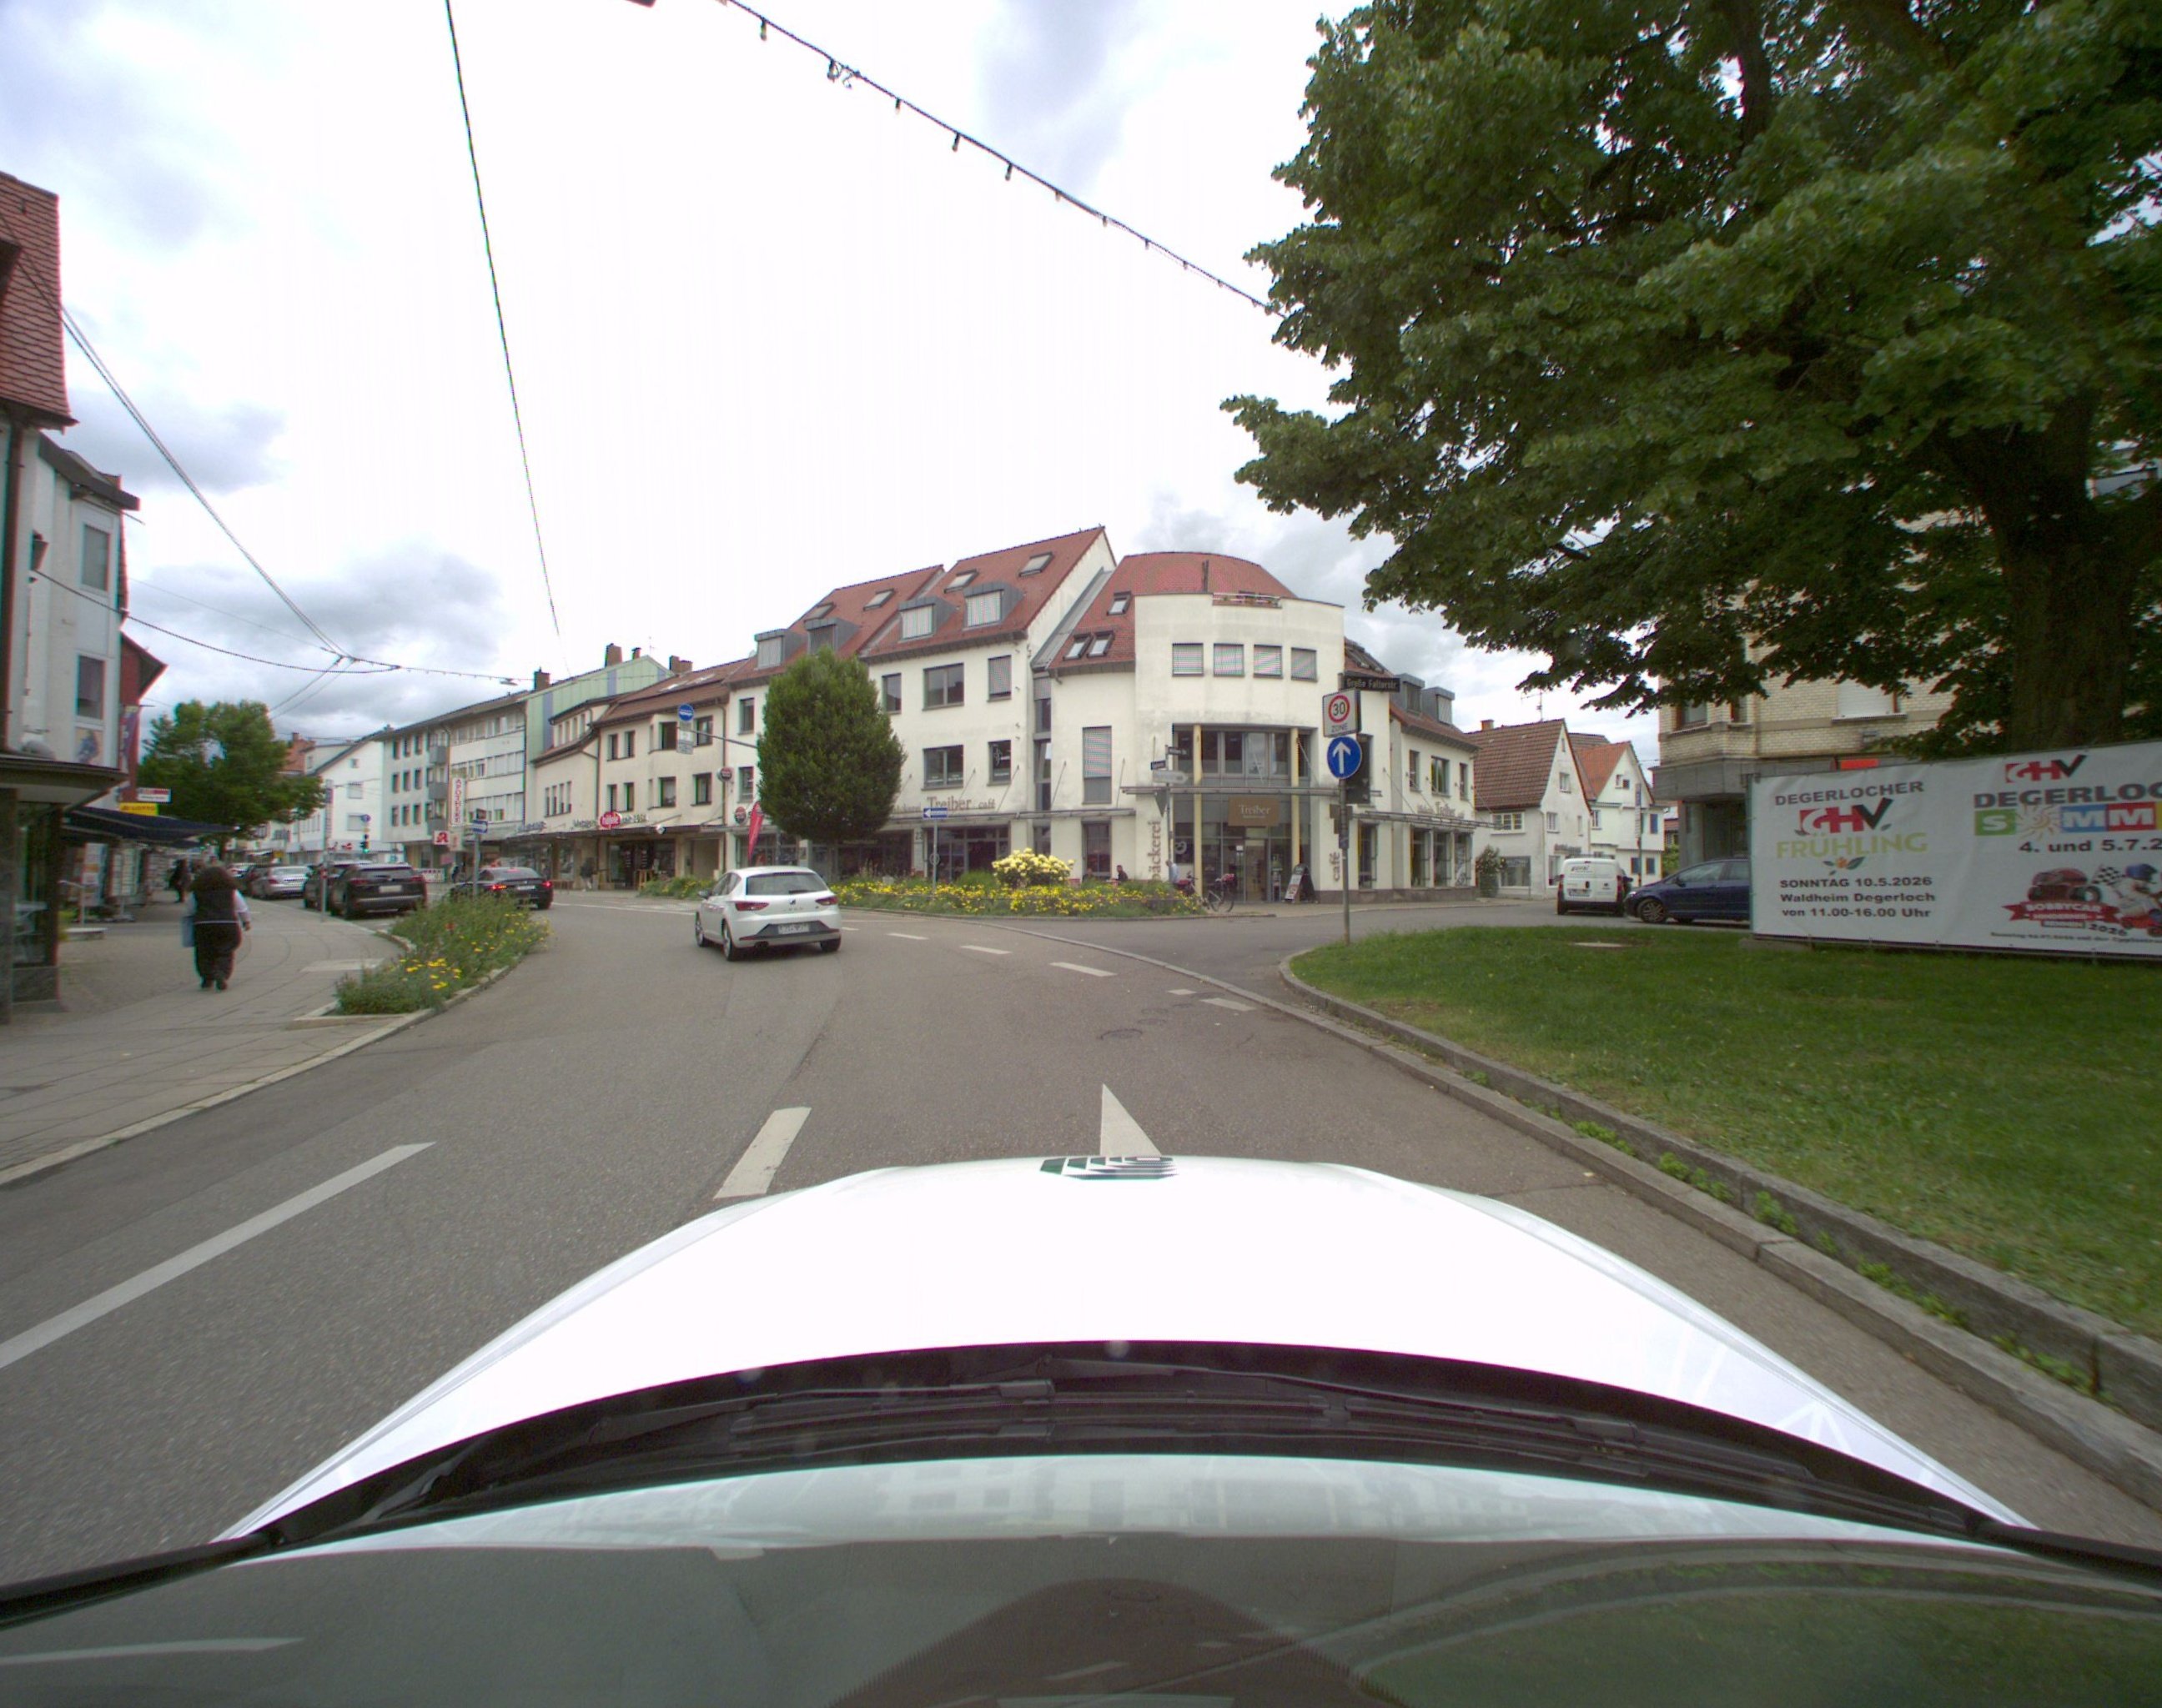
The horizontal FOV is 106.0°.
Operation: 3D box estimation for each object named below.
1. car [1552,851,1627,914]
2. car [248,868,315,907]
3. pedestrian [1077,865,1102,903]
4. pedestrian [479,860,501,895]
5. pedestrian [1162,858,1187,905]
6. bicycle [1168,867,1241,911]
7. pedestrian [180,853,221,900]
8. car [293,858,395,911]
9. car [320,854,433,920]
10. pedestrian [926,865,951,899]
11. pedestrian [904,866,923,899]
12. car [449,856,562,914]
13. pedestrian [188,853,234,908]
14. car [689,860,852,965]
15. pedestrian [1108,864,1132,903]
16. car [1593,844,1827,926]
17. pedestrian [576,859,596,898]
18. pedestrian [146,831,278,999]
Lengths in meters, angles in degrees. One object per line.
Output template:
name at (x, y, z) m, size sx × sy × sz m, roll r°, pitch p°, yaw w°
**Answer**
car at (15.694, 0.841, 25.143) m, size 1.808 × 1.792 × 4.245 m, roll 0°, pitch -1°, yaw 33°
car at (-35.155, 1.420, 35.780) m, size 3.948 × 1.622 × 1.587 m, roll -1°, pitch -1°, yaw 38°
pedestrian at (0.314, 1.051, 28.694) m, size 0.695 × 1.332 × 0.687 m, roll -1°, pitch -1°, yaw 16°
pedestrian at (-34.564, 1.348, 47.611) m, size 1.035 × 2.014 × 0.886 m, roll 0°, pitch -1°, yaw -37°
pedestrian at (3.113, 0.894, 27.056) m, size 0.695 × 1.525 × 0.871 m, roll -1°, pitch -1°, yaw 16°
bicycle at (3.590, 0.993, 23.739) m, size 1.955 × 1.240 × 0.748 m, roll 0°, pitch 0°, yaw 28°
pedestrian at (-38.609, 0.961, 35.711) m, size 1.001 × 2.013 × 1.113 m, roll -1°, pitch 0°, yaw 35°
car at (-26.246, 1.062, 28.961) m, size 4.370 × 1.732 × 2.013 m, roll -1°, pitch -1°, yaw 38°
car at (-21.577, 0.969, 24.908) m, size 3.948 × 1.854 × 2.012 m, roll -1°, pitch -1°, yaw 40°
pedestrian at (-5.536, 1.091, 31.656) m, size 0.561 × 1.318 × 0.769 m, roll -1°, pitch -3°, yaw 29°
pedestrian at (-6.646, 1.115, 32.321) m, size 0.485 × 1.271 × 0.505 m, roll -1°, pitch -1°, yaw 29°
car at (-18.829, 0.938, 26.576) m, size 4.318 × 1.675 × 2.054 m, roll 0°, pitch 0°, yaw 41°
pedestrian at (-32.686, 0.982, 30.605) m, size 1.001 × 2.013 × 1.113 m, roll -1°, pitch 0°, yaw 38°
car at (-5.489, 0.876, 14.086) m, size 1.856 × 1.434 × 3.959 m, roll -1°, pitch 1°, yaw -33°
pedestrian at (1.352, 1.025, 28.302) m, size 0.650 × 1.341 × 0.699 m, roll -1°, pitch -1°, yaw 16°
car at (14.649, 0.704, 19.214) m, size 1.867 × 1.704 × 3.986 m, roll 2°, pitch -2°, yaw -27°
pedestrian at (-25.990, 1.298, 42.743) m, size 0.627 × 2.014 × 0.674 m, roll -1°, pitch -1°, yaw 33°
pedestrian at (-11.121, 0.730, 10.482) m, size 1.112 × 2.013 × 1.001 m, roll 0°, pitch 0°, yaw -44°
